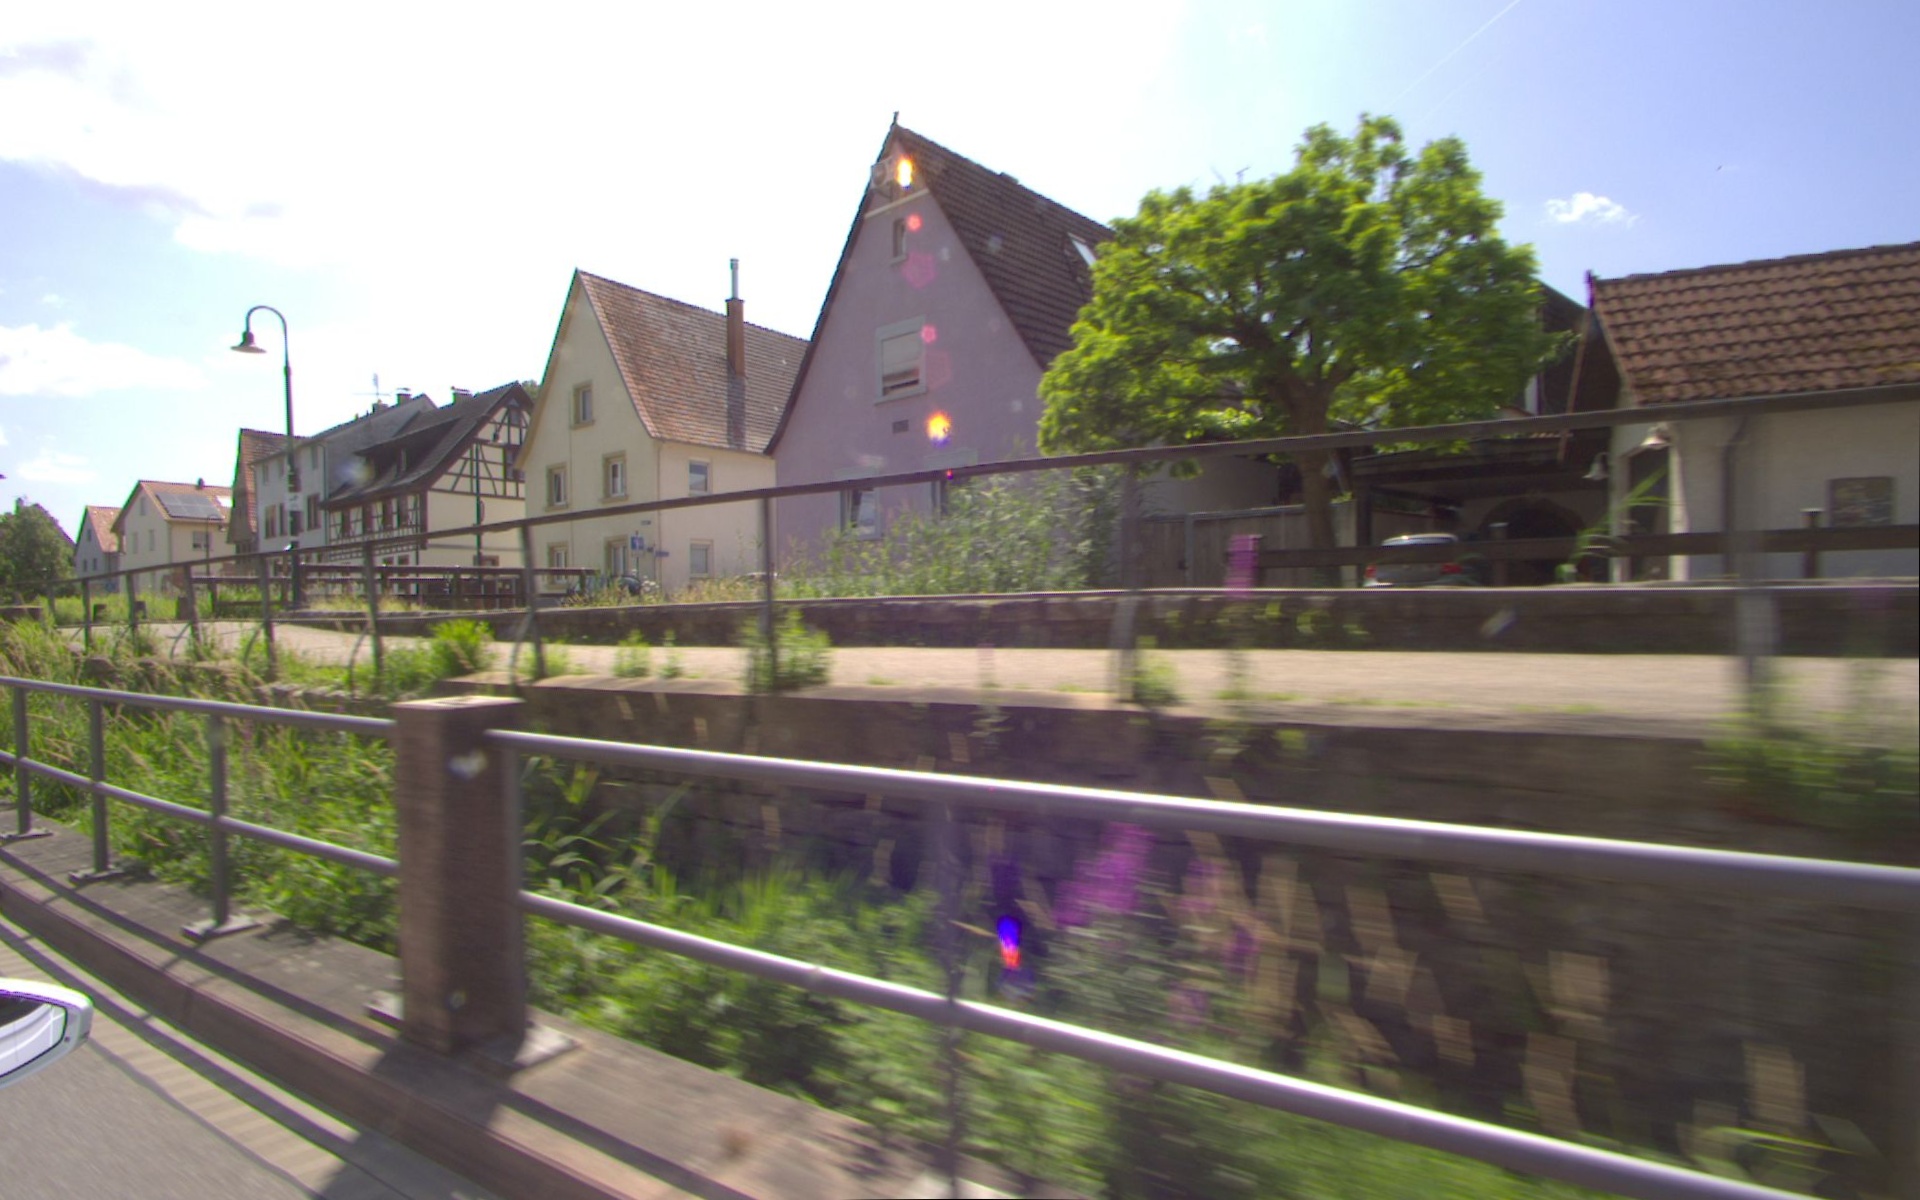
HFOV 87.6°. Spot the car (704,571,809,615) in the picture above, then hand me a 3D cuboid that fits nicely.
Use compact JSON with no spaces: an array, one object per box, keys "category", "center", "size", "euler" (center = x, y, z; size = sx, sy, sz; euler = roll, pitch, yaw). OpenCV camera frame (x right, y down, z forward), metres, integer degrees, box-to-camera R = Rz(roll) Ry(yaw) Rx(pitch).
[{"category":"car","center":[-6.775,-0.223,33.313],"size":[3.200,1.343,1.659],"euler":[-1,2,35]}]

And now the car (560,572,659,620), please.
[{"category":"car","center":[-11.236,-0.097,32.053],"size":[3.041,1.434,1.658],"euler":[-1,0,39]}]

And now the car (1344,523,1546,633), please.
[{"category":"car","center":[7.760,-0.283,15.910],"size":[3.479,1.545,1.742],"euler":[0,-1,-42]}]
